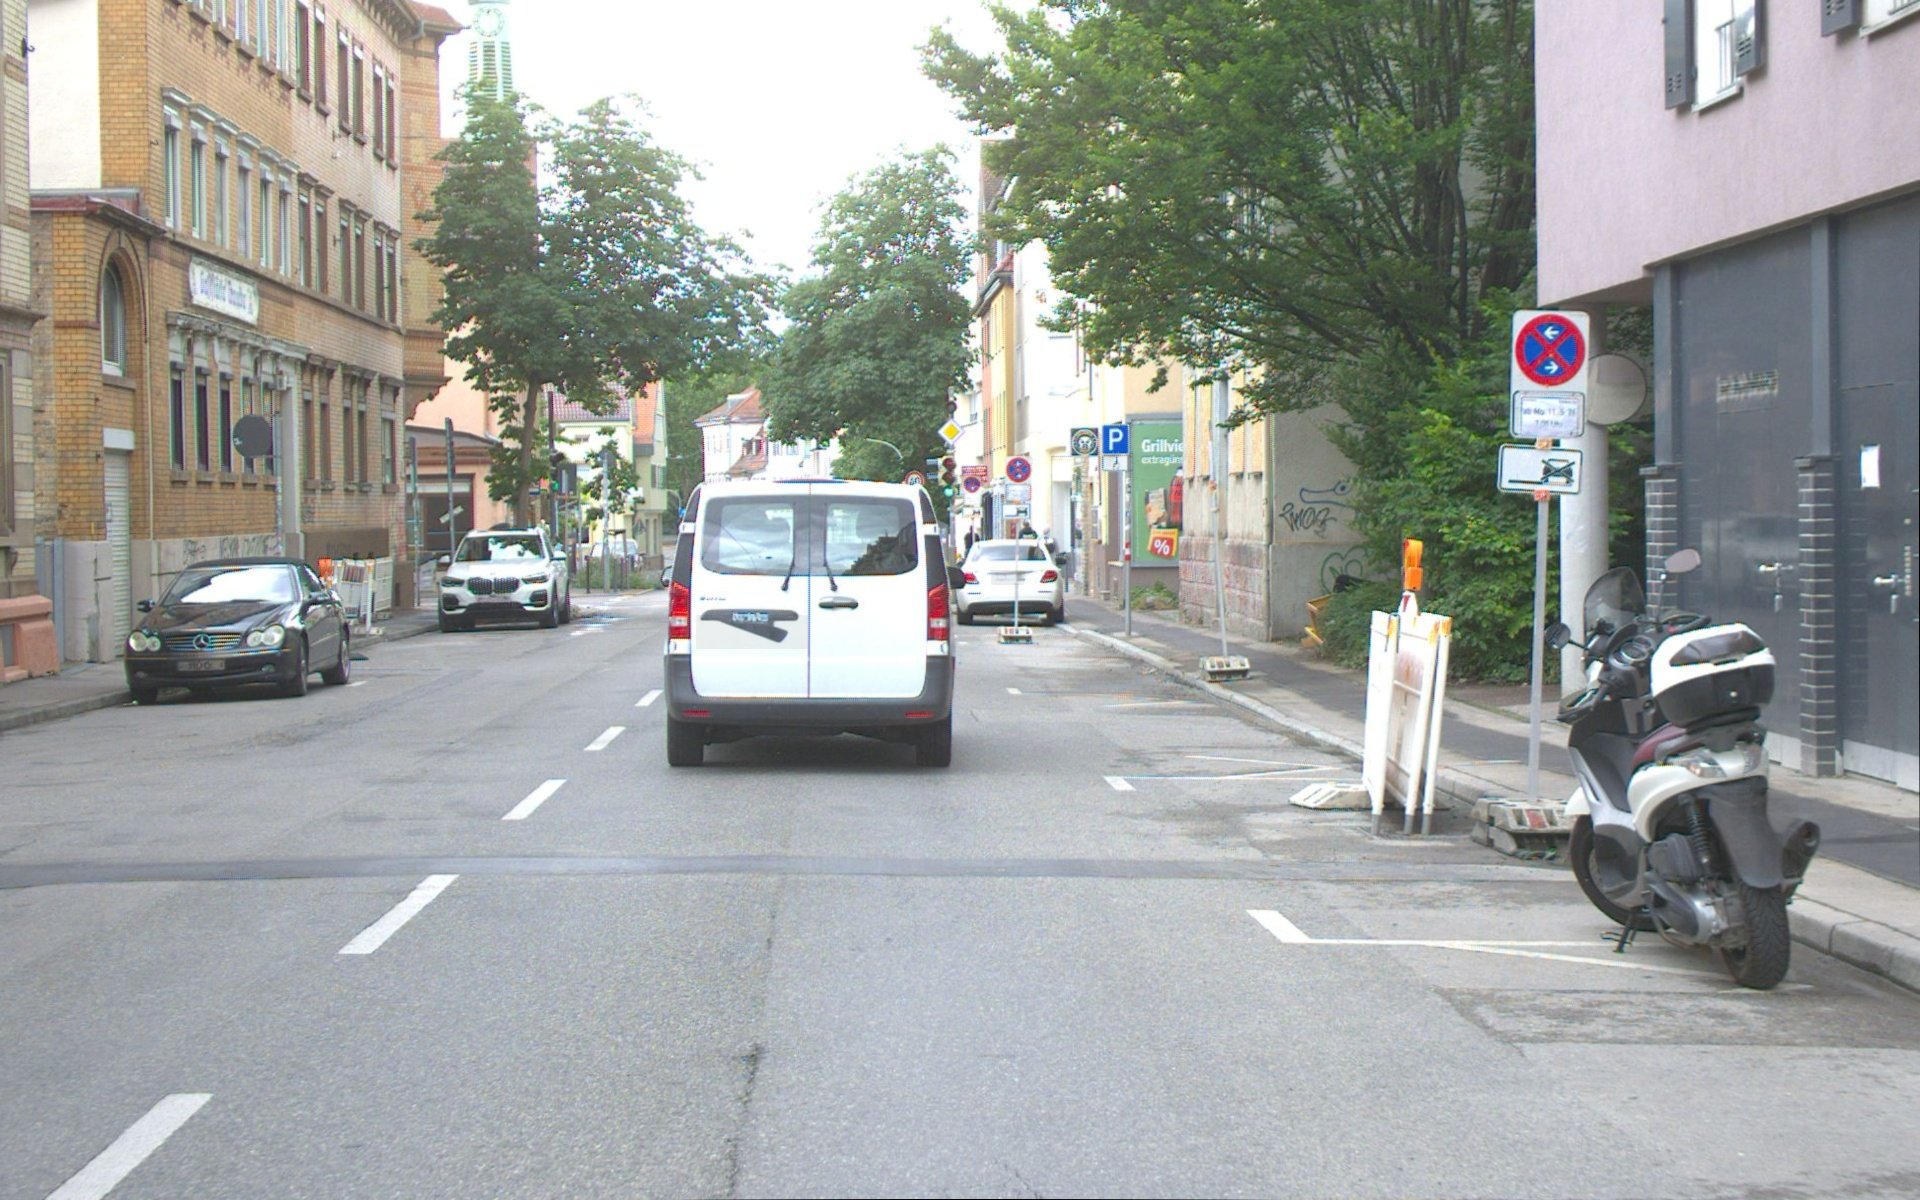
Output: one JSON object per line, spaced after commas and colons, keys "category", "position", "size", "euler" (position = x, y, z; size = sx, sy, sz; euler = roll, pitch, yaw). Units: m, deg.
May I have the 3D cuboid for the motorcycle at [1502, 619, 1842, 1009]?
{"category": "motorcycle", "position": [2.522, 0.711, 12.448], "size": [0.646, 1.222, 2.337], "euler": [1, 1, -2]}

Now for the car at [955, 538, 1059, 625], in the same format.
{"category": "car", "position": [0.824, -0.362, 60.880], "size": [1.767, 1.461, 4.783], "euler": [0, 1, 1]}

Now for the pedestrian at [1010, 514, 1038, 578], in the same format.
{"category": "pedestrian", "position": [1.655, -1.394, 88.809], "size": [0.614, 1.647, 0.983], "euler": [1, 1, -4]}

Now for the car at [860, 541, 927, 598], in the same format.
{"category": "car", "position": [-2.129, -0.986, 109.396], "size": [1.819, 1.775, 4.404], "euler": [0, 1, -5]}

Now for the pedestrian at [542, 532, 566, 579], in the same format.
{"category": "pedestrian", "position": [-13.183, -1.452, 111.751], "size": [0.738, 1.529, 0.983], "euler": [0, 1, -5]}

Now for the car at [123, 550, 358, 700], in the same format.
{"category": "car", "position": [-7.376, 0.210, 35.594], "size": [1.578, 1.378, 4.355], "euler": [-2, 1, -1]}

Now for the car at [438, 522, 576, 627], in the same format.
{"category": "car", "position": [-7.924, -0.486, 60.479], "size": [1.891, 1.706, 4.742], "euler": [-2, 1, -2]}

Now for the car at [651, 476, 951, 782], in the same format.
{"category": "car", "position": [-1.089, 0.146, 23.560], "size": [1.872, 1.905, 4.001], "euler": [0, 1, -3]}
